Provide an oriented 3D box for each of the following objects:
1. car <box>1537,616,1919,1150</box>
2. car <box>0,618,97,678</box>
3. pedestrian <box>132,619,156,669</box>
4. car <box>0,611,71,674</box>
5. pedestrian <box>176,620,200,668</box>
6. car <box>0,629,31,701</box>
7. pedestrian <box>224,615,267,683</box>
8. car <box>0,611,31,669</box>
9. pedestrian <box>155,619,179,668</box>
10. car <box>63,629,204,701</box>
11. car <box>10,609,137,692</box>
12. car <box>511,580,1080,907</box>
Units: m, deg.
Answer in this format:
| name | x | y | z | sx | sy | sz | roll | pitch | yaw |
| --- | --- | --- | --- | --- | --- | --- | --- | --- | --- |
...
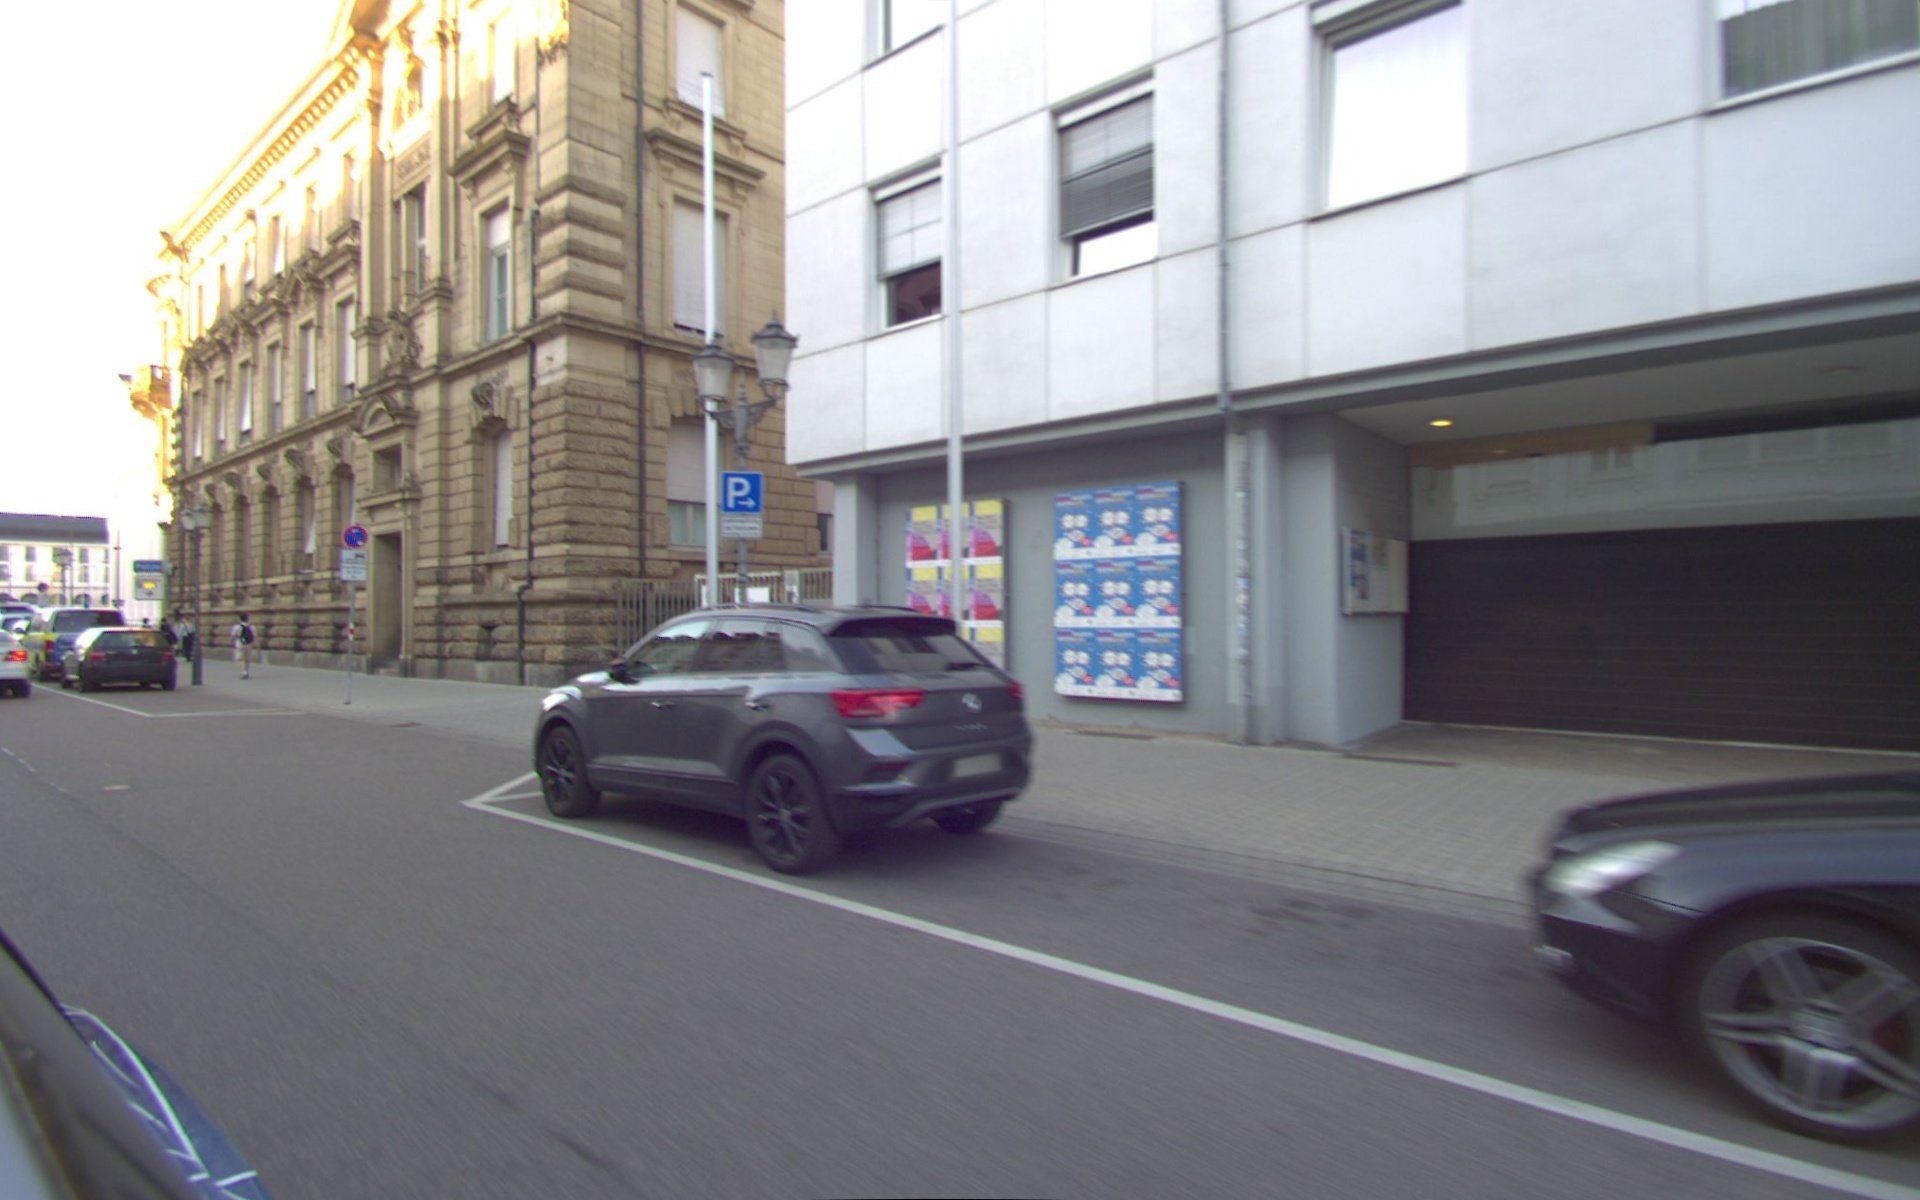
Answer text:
| name | x | y | z | sx | sy | sz | roll | pitch | yaw |
| --- | --- | --- | --- | --- | --- | --- | --- | --- | --- |
| car | 3.998 | 0.740 | 2.591 | 4.087 | 1.419 | 1.766 | -2 | -2 | 42 |
| car | -29.265 | 1.461 | 32.183 | 4.986 | 1.765 | 1.973 | -1 | -2 | 40 |
| pedestrian | -29.161 | 1.566 | 36.180 | 0.744 | 1.743 | 0.567 | -2 | -2 | 43 |
| car | -33.307 | 1.471 | 35.967 | 5.205 | 2.103 | 1.972 | -1 | -2 | 42 |
| pedestrian | -28.454 | 1.601 | 37.309 | 0.703 | 1.743 | 0.600 | -2 | -2 | 43 |
| car | -20.597 | 1.312 | 20.779 | 4.085 | 1.419 | 1.766 | -2 | -2 | 41 |
| pedestrian | -19.135 | 1.291 | 27.107 | 0.896 | 1.743 | 0.706 | -2 | 1 | 43 |
| car | -38.835 | 1.588 | 40.291 | 5.201 | 2.188 | 1.974 | -2 | -1 | 39 |
| pedestrian | -28.908 | 1.572 | 36.884 | 0.831 | 1.743 | 0.576 | -2 | -2 | 43 |
| car | -19.557 | 1.460 | 23.892 | 4.163 | 1.506 | 1.972 | -1 | -2 | 42 |
| car | -24.556 | 1.300 | 27.964 | 4.987 | 2.093 | 1.973 | 0 | -1 | 41 |
| car | -1.372 | 0.770 | 7.130 | 4.165 | 1.627 | 1.766 | -2 | -2 | 42 |
